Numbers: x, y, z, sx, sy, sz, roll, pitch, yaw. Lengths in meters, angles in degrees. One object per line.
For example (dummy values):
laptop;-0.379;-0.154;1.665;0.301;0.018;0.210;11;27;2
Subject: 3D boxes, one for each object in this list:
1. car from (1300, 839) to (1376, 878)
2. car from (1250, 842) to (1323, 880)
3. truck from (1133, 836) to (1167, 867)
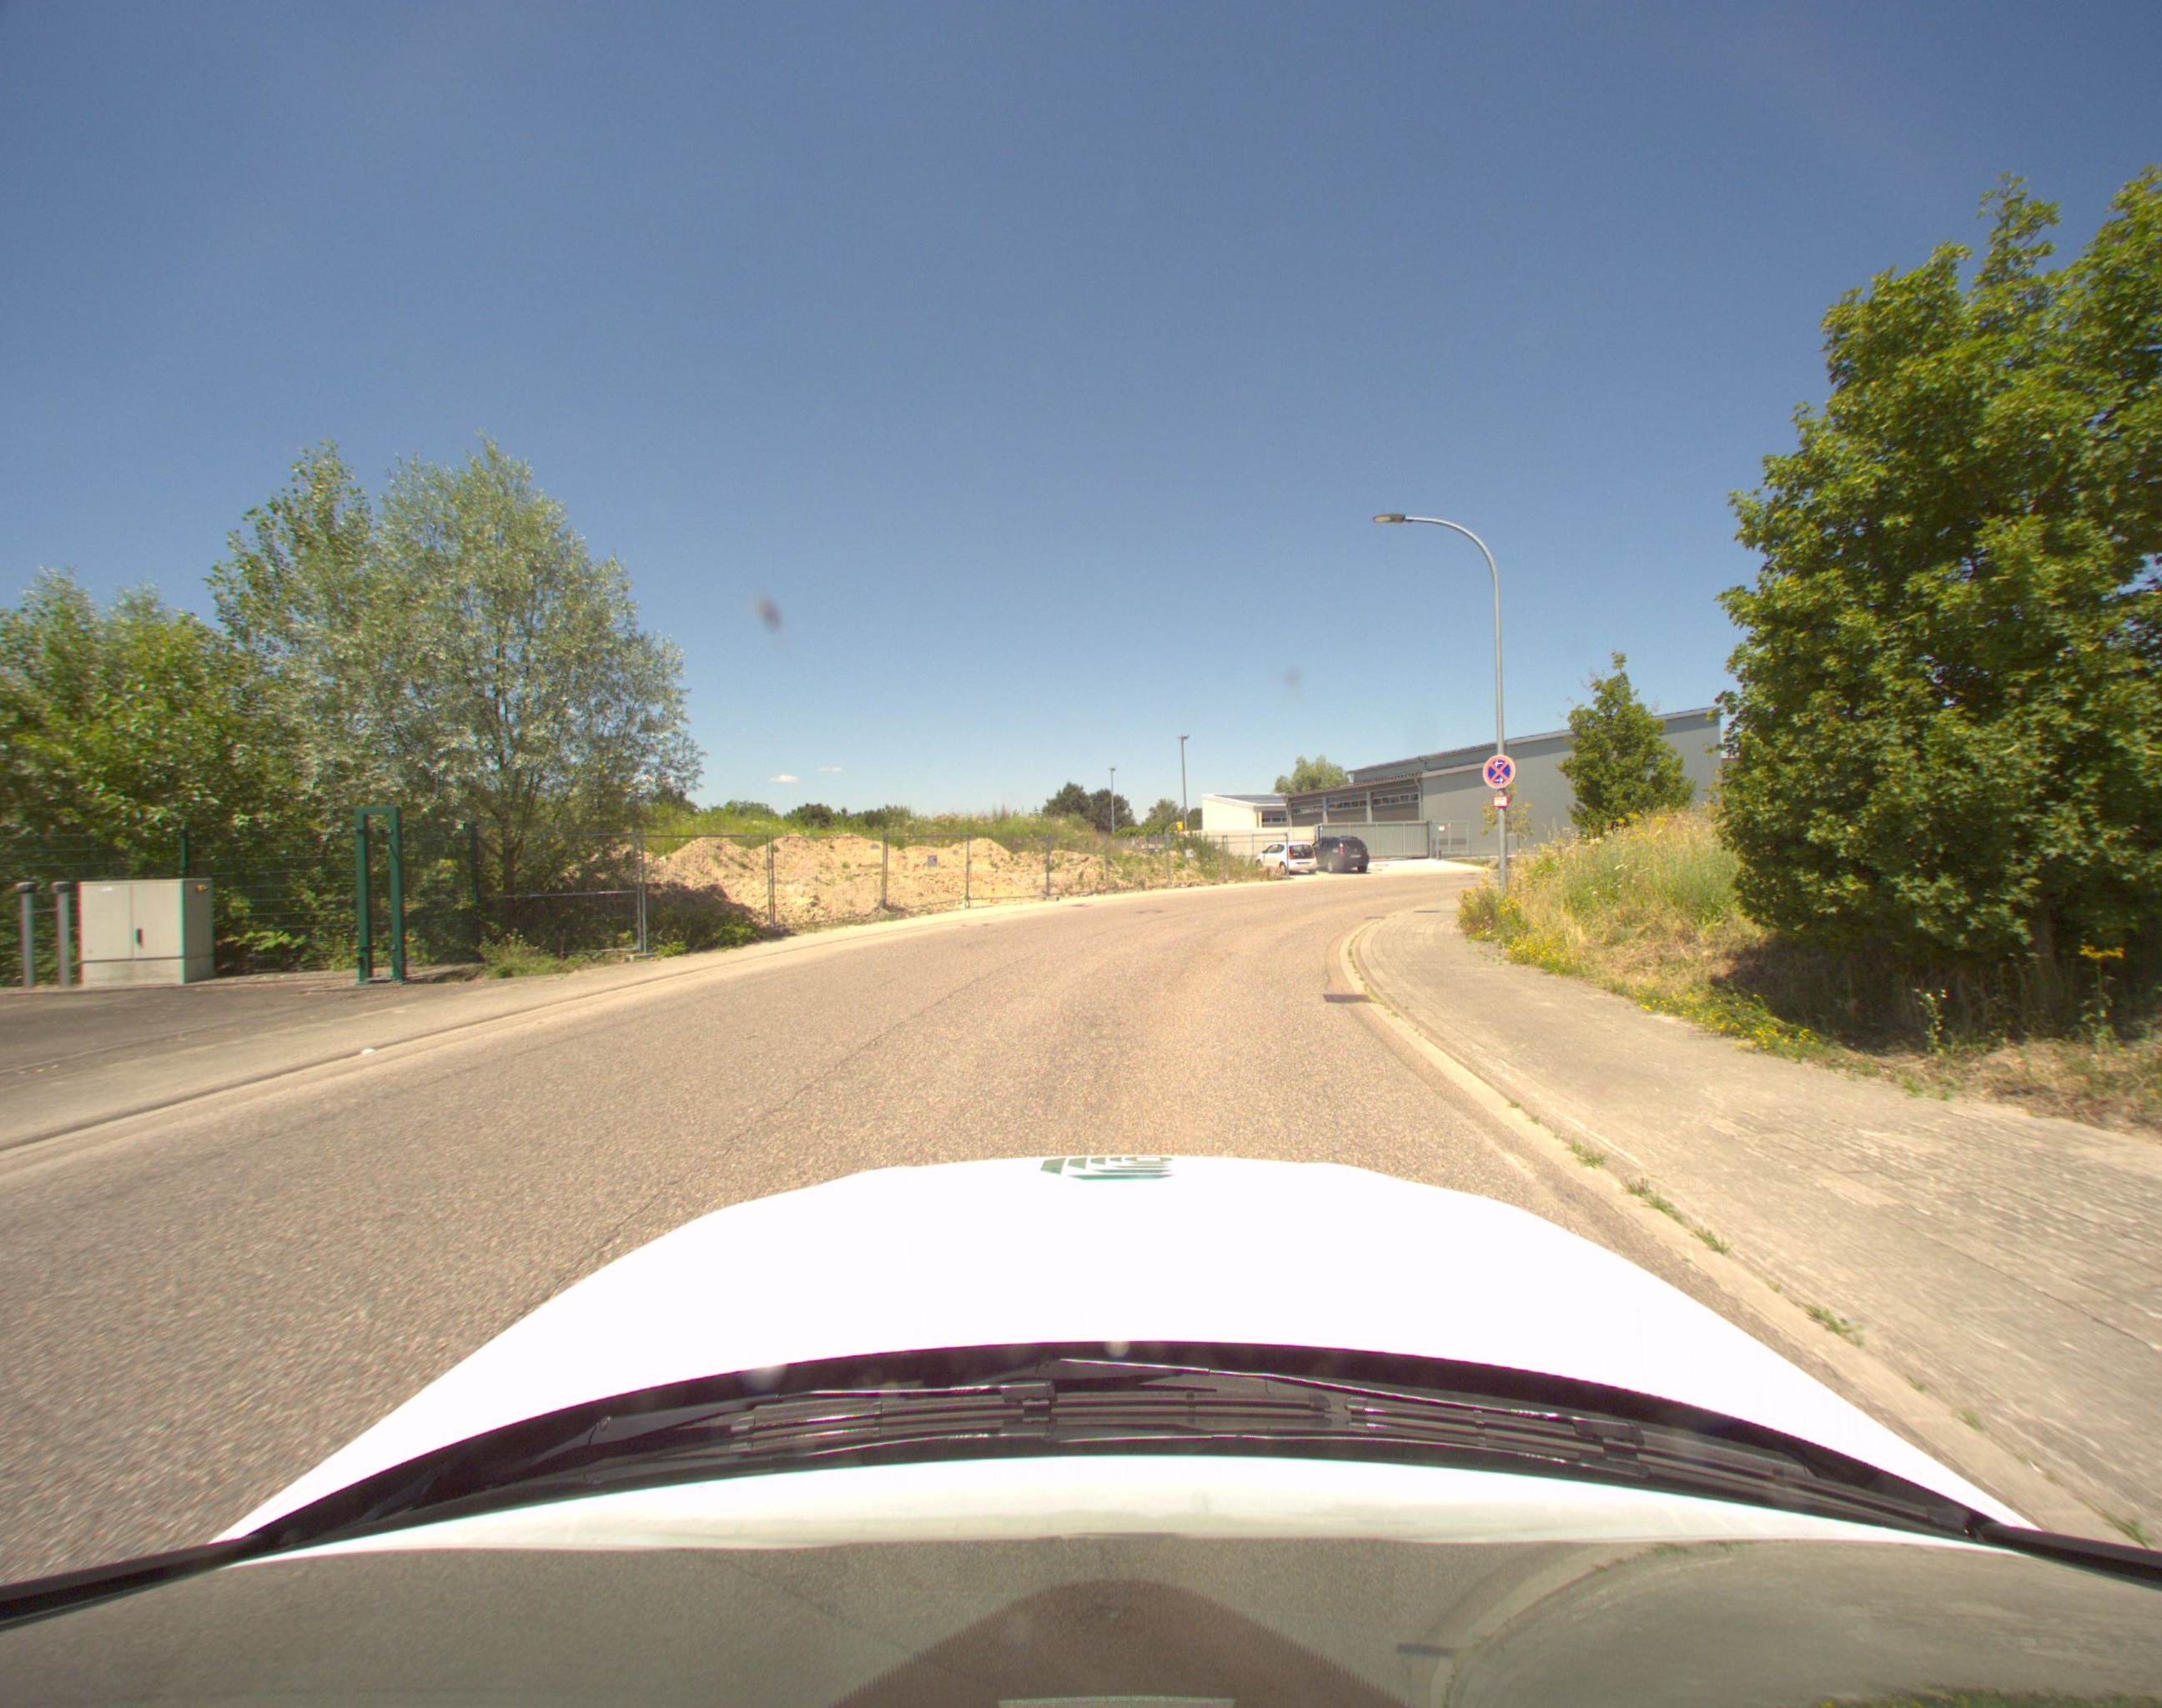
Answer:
car;12.122;0.176;38.664;1.797;1.608;3.686;-2;3;-14
car;9.627;0.275;38.420;1.786;1.498;3.686;-2;3;-14
truck;6.888;-0.204;82.090;1.996;2.984;4.624;-2;0;-13
